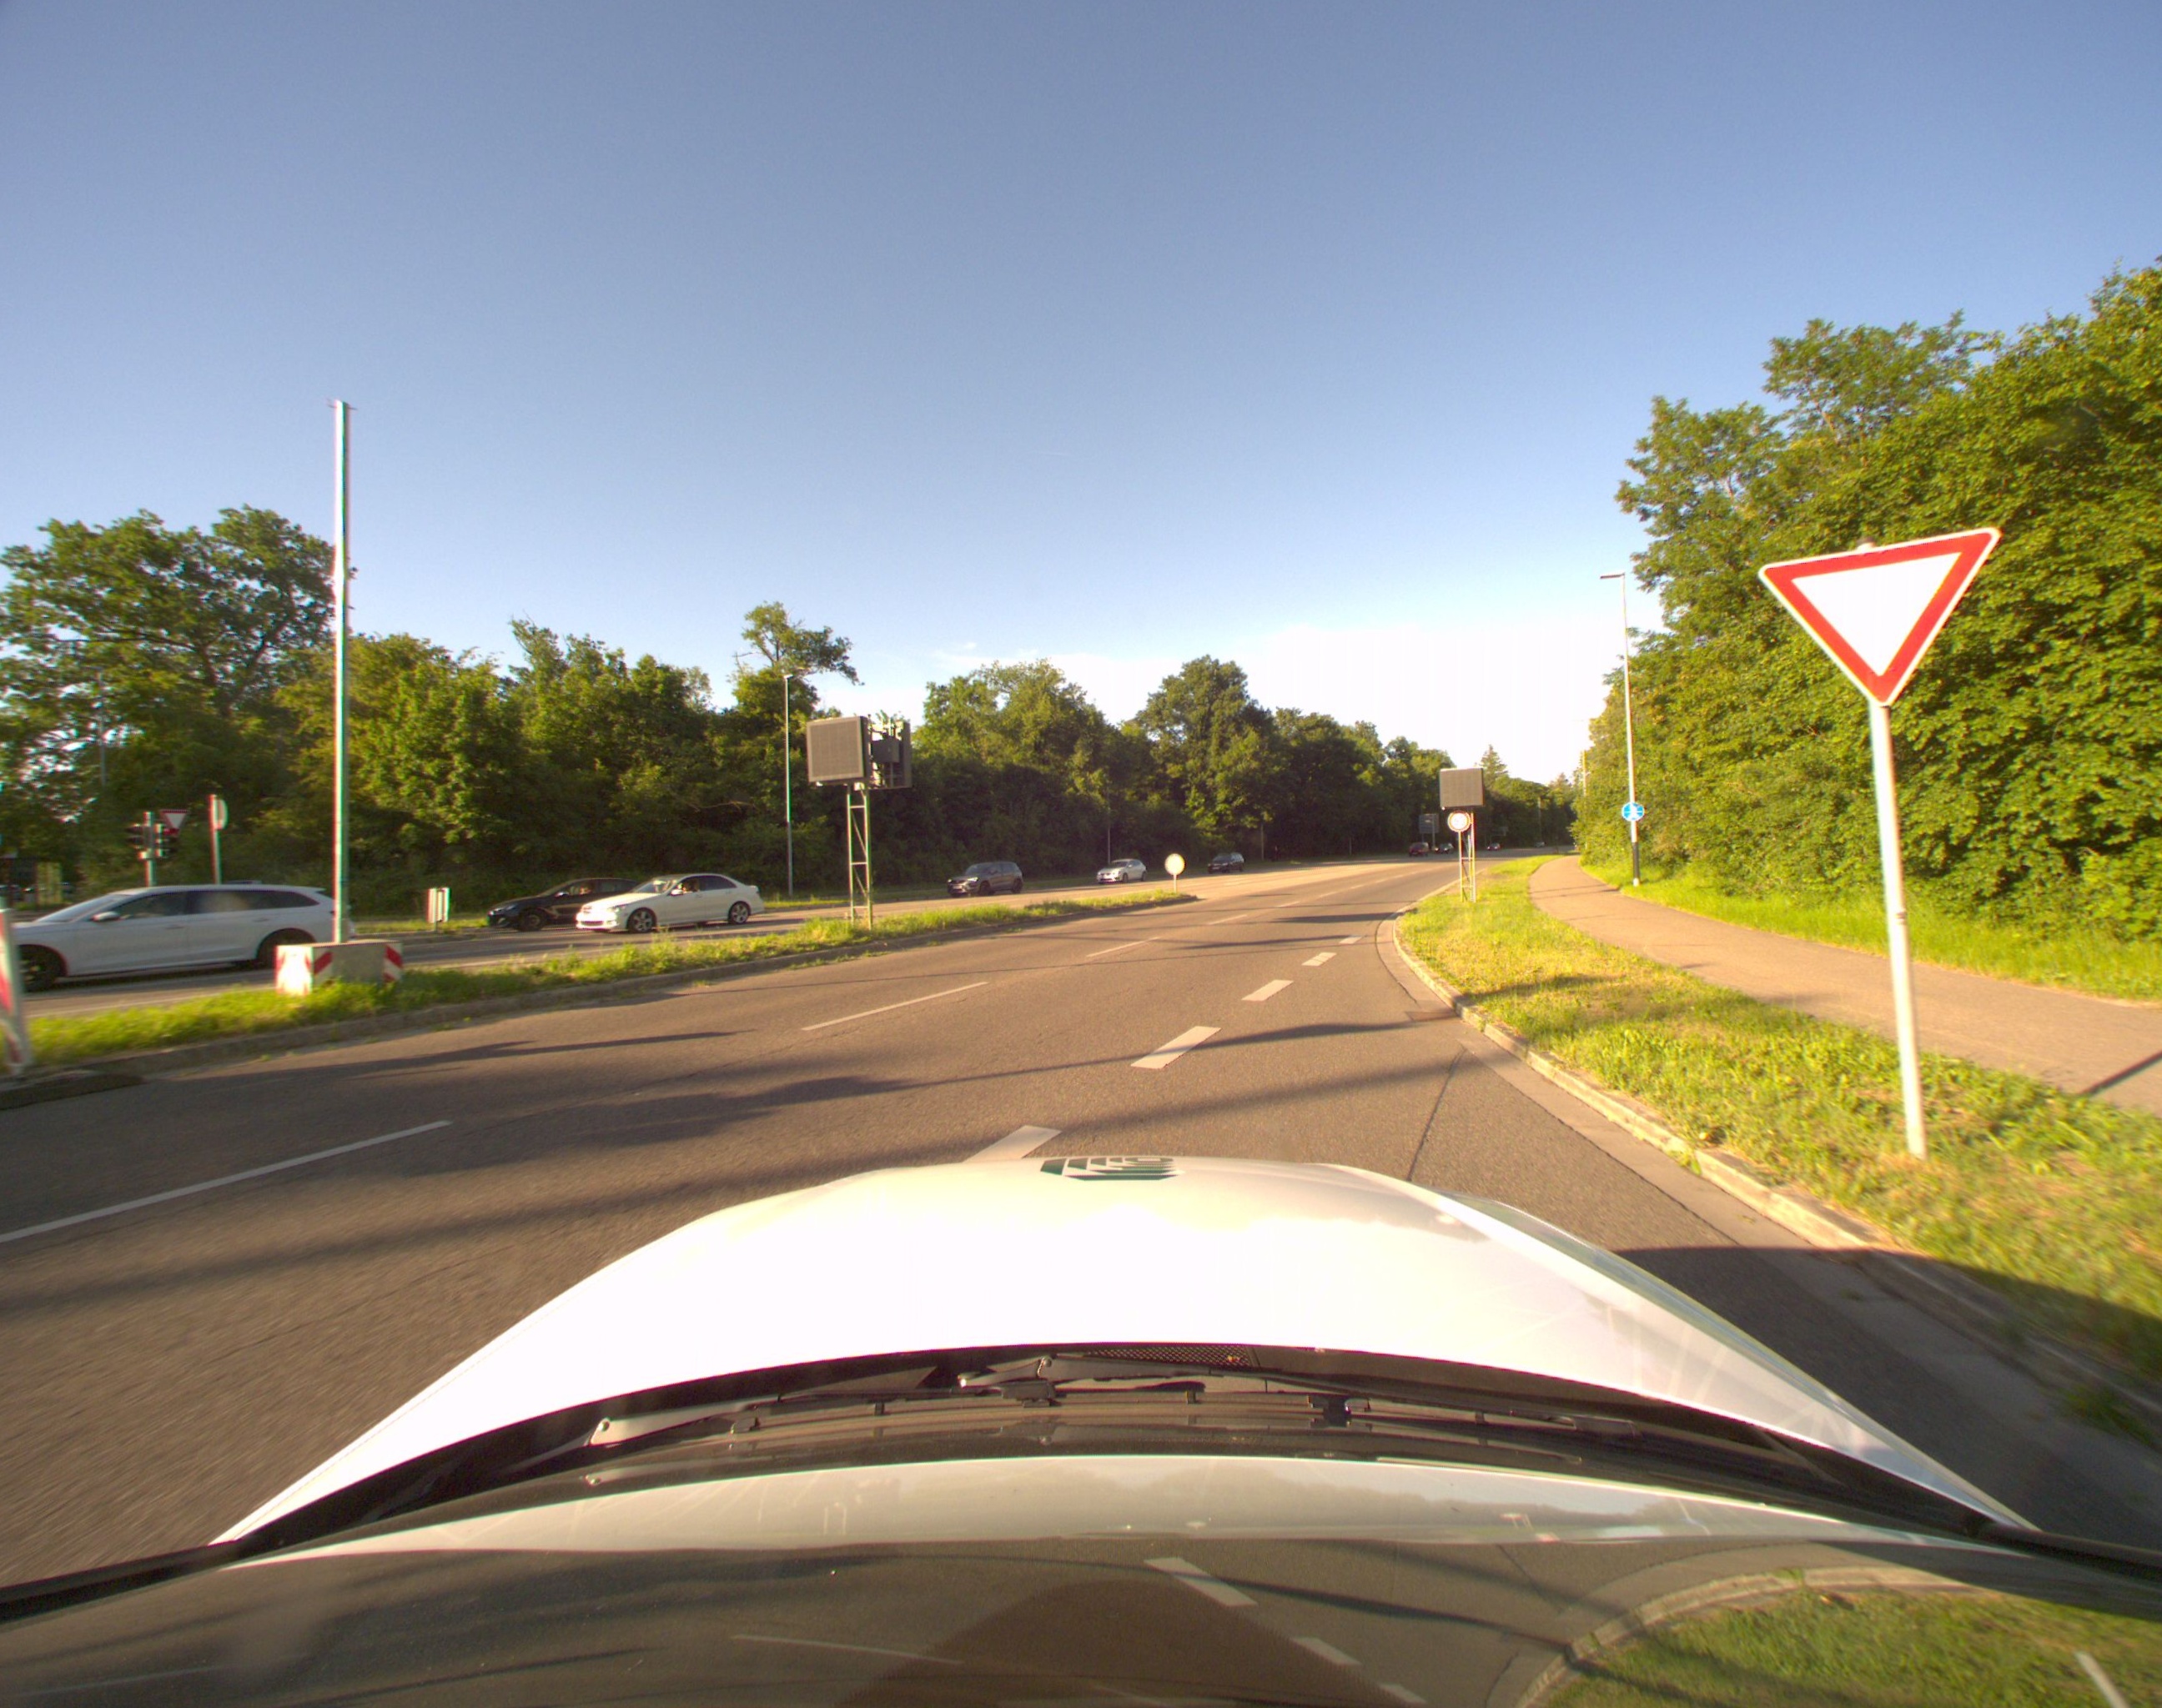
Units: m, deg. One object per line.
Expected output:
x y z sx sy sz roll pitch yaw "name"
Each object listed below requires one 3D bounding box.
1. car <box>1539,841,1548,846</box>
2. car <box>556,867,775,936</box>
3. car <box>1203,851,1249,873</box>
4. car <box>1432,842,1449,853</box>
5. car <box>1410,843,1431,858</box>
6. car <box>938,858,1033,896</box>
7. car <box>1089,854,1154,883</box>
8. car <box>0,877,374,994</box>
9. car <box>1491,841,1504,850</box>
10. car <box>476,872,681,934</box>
113.004 -2.634 199.035 1.727 1.234 4.703 -2 0 32 "car"
-10.467 1.149 20.938 1.975 1.451 4.676 -3 -1 28 "car"
11.385 0.594 63.682 1.974 1.564 4.677 -3 -1 30 "car"
57.658 -1.002 130.515 1.974 1.637 4.874 -2 0 31 "car"
46.587 -0.483 111.714 1.974 1.962 4.677 -3 -1 30 "car"
-4.416 1.064 38.398 1.974 1.564 4.677 -3 -1 30 "car"
2.530 0.847 50.090 1.974 1.564 4.677 -3 -1 30 "car"
-14.786 1.201 12.995 1.975 1.451 4.871 -3 -1 26 "car"
81.782 -1.708 159.910 1.974 1.564 4.366 -2 0 32 "car"
-14.454 1.329 23.636 1.975 1.451 4.676 -2 0 43 "car"
